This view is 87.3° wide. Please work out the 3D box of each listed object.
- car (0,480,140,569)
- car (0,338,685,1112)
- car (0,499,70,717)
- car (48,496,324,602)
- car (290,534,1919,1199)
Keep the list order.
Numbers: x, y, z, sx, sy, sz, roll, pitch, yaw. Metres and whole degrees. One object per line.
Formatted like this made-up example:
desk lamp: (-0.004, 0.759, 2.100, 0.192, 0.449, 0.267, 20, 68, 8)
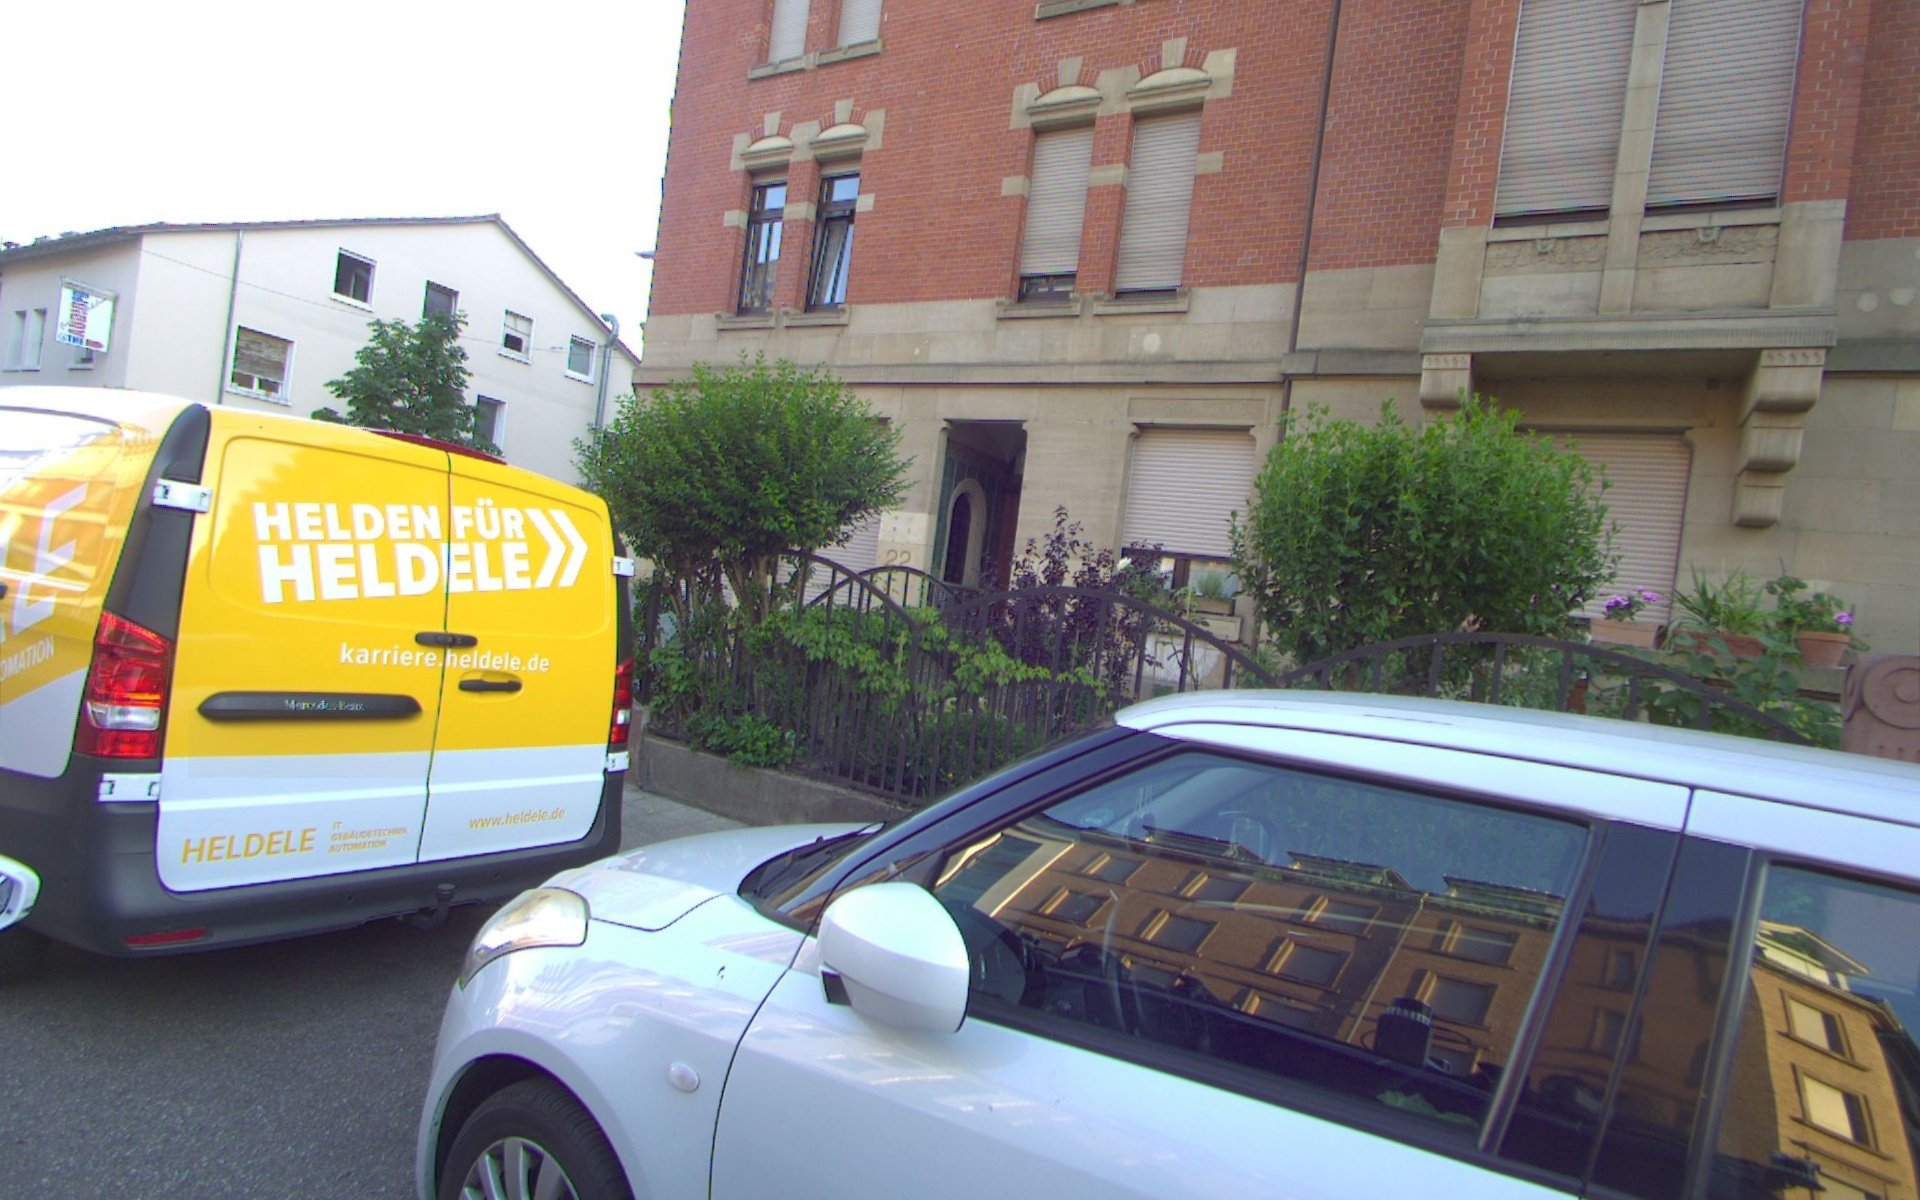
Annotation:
car: (-19.797, -1.678, 20.754, 1.727, 1.533, 4.054, 9, 2, 32)
car: (-3.840, 0.123, 4.561, 4.996, 1.906, 1.897, 7, -1, 31)
car: (-8.441, -0.227, 7.277, 4.182, 1.440, 1.725, 7, -2, 31)
car: (-15.170, -0.947, 19.932, 1.630, 1.473, 3.933, 8, 0, 33)
car: (0.706, 0.884, 1.735, 3.799, 1.494, 1.677, 7, -1, 34)
